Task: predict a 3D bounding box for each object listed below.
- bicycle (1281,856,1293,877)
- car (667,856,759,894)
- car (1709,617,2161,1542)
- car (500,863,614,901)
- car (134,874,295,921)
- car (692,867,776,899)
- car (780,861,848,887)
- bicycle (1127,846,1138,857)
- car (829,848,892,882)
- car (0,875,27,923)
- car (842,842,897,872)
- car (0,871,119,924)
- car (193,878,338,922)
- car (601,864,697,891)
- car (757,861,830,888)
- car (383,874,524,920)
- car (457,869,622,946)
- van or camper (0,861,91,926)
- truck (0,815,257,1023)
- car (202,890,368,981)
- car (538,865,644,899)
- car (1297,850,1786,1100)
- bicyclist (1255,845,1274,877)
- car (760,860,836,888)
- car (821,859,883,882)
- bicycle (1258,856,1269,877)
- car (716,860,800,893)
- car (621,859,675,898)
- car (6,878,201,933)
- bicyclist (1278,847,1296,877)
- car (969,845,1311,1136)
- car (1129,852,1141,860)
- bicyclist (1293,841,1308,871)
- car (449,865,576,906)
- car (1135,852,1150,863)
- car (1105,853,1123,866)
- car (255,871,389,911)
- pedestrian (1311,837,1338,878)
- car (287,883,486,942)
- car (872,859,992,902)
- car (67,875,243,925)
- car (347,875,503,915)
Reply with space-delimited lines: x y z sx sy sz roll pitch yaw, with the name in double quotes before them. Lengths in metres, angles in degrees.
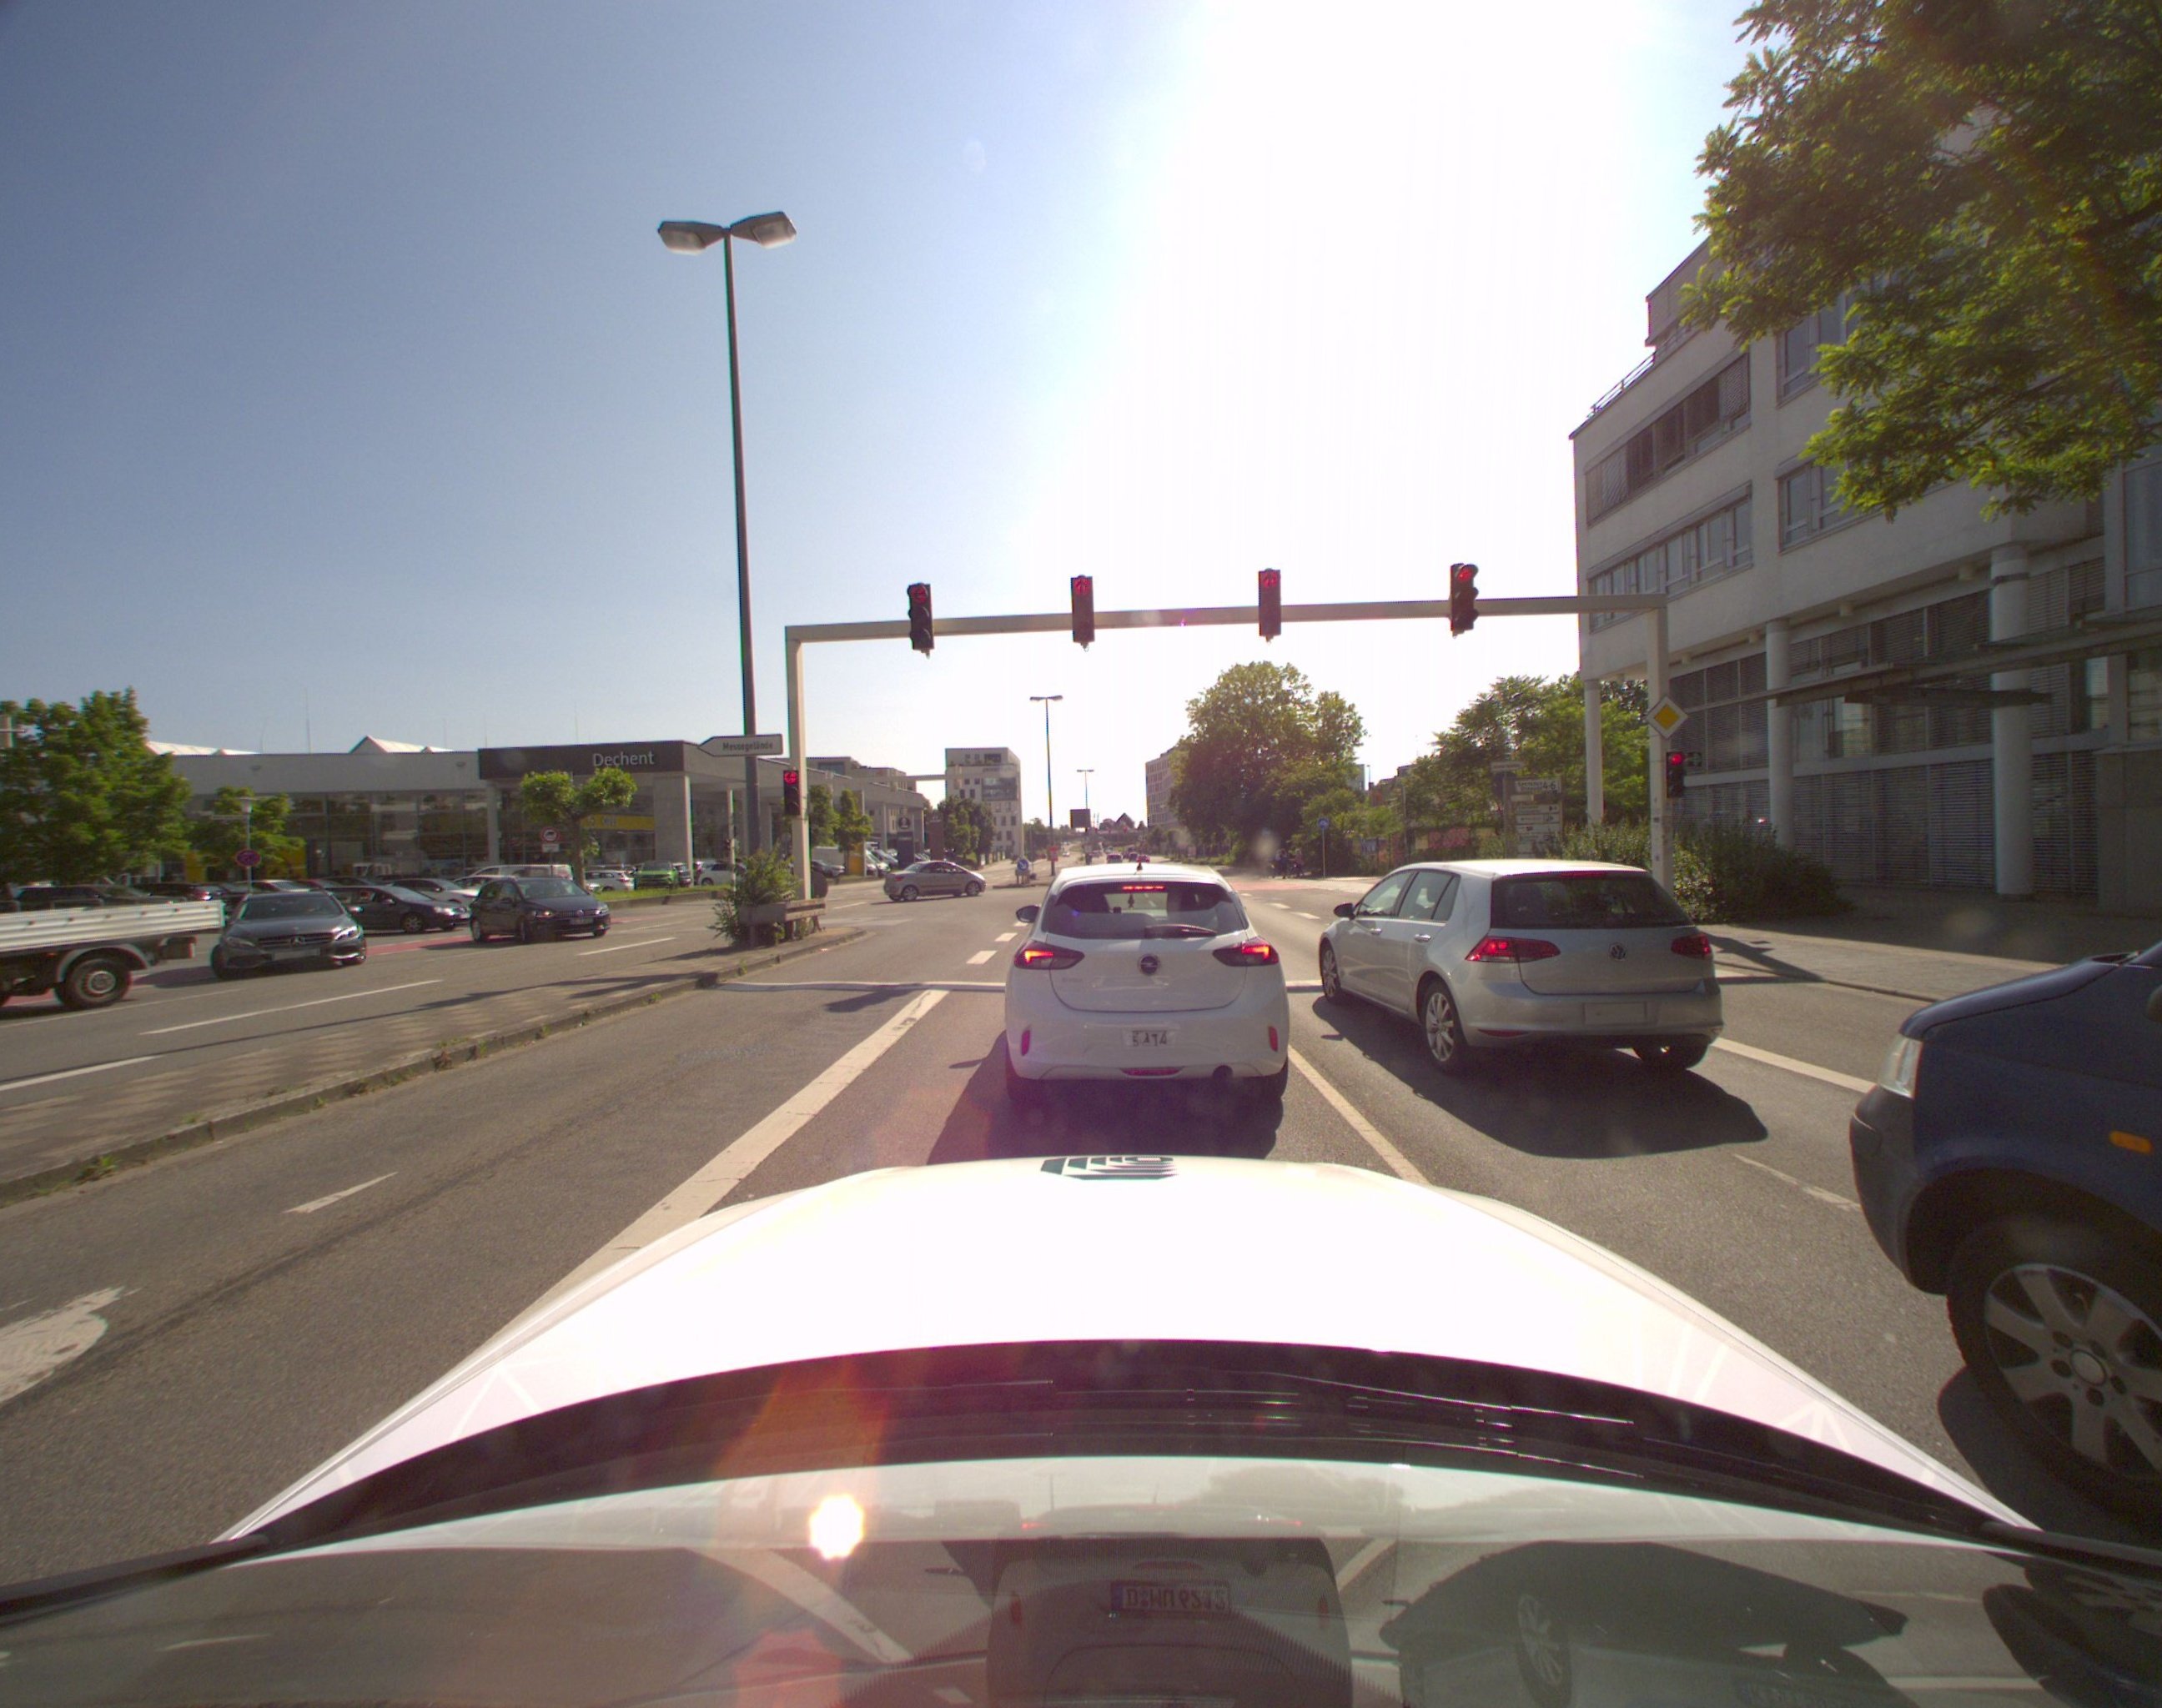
"bicycle" 11.383 0.691 45.044 0.372 1.147 1.034 0 -1 0
"car" -19.263 1.087 42.772 3.859 1.837 1.999 -2 0 -1
"car" 3.214 0.442 0.465 1.986 1.948 4.892 -2 -1 2
"car" -26.480 1.368 41.275 4.353 1.696 1.995 -2 0 -7
"car" -36.328 1.796 34.241 4.348 1.696 1.997 -2 0 -4
"car" -19.925 1.642 46.888 3.981 1.599 1.996 -2 0 -6
"car" -19.687 1.448 60.150 4.344 1.696 1.999 -2 0 -1
"bicycle" 9.810 -0.478 155.650 1.986 2.157 4.001 -2 0 1
"car" -18.475 0.933 68.347 4.469 2.684 2.134 -2 0 10
"car" -40.611 1.694 28.327 4.371 1.696 1.987 -2 0 -20
"car" -19.100 0.264 73.682 4.334 2.601 2.004 -2 0 6
"car" -43.167 1.812 33.693 3.984 2.013 1.995 -2 0 -8
"car" -36.941 2.061 36.986 4.348 1.696 1.997 -2 0 -4
"car" -24.708 1.367 46.674 4.352 1.268 1.995 -3 -2 -7
"car" -20.065 1.406 56.952 4.344 1.696 1.999 -2 0 -1
"car" -26.749 1.788 34.854 4.348 1.696 1.997 -2 0 -4
"car" -13.262 1.254 19.897 4.081 1.617 1.904 -2 0 34
"van or camper" -41.952 1.563 31.335 4.711 2.400 1.995 -2 0 -8
"truck" -14.462 0.844 9.698 2.346 2.545 6.445 -2 0 4
"car" -15.190 1.433 15.476 3.949 1.360 1.917 0 -1 41
"car" -26.162 1.488 43.579 4.352 1.591 1.996 -2 0 -7
"car" 3.295 0.740 6.886 1.802 1.429 3.998 -2 -1 -1
"bicyclist" 10.560 0.411 46.923 0.876 1.772 0.864 -2 0 1
"car" -18.986 1.347 54.702 4.343 1.696 1.999 -2 0 -1
"car" -18.509 1.332 65.896 4.334 1.696 2.004 -2 0 6
"bicycle" 10.491 0.697 46.885 0.371 1.216 1.154 0 0 2
"car" -19.611 1.356 49.576 4.284 1.765 1.999 -2 0 -1
"car" -21.258 1.211 39.951 1.915 1.733 3.258 -2 -1 -35
"car" -35.226 1.811 29.464 4.348 1.696 1.997 -2 0 -4
"bicyclist" 11.401 0.457 45.081 0.687 1.643 0.775 -2 0 -7
"car" 0.371 0.730 6.342 1.773 1.494 4.001 -2 0 2
"car" 9.024 0.341 136.512 1.799 1.386 4.001 0 -1 2
"bicyclist" 12.323 0.115 45.706 0.650 1.637 0.660 0 -1 1
"car" -26.535 1.433 38.146 4.353 1.696 1.995 -2 0 -7
"car" 7.892 0.476 105.283 1.799 1.386 4.001 0 -1 2
"car" 3.579 0.629 89.517 1.801 1.386 3.998 0 -1 -1
"car" -36.624 1.768 39.409 4.352 1.696 1.995 -2 0 -7
"pedestrian" 12.422 0.185 41.522 1.023 2.013 1.039 -2 0 1
"car" -20.436 1.695 24.128 3.983 1.442 1.995 -2 0 -7
"car" -5.647 0.961 30.925 4.013 1.331 1.980 -3 1 -31
"car" -36.241 1.760 31.986 4.348 1.696 1.997 -2 0 -4
"car" -25.546 1.581 31.855 4.348 1.300 1.997 -2 0 -4
